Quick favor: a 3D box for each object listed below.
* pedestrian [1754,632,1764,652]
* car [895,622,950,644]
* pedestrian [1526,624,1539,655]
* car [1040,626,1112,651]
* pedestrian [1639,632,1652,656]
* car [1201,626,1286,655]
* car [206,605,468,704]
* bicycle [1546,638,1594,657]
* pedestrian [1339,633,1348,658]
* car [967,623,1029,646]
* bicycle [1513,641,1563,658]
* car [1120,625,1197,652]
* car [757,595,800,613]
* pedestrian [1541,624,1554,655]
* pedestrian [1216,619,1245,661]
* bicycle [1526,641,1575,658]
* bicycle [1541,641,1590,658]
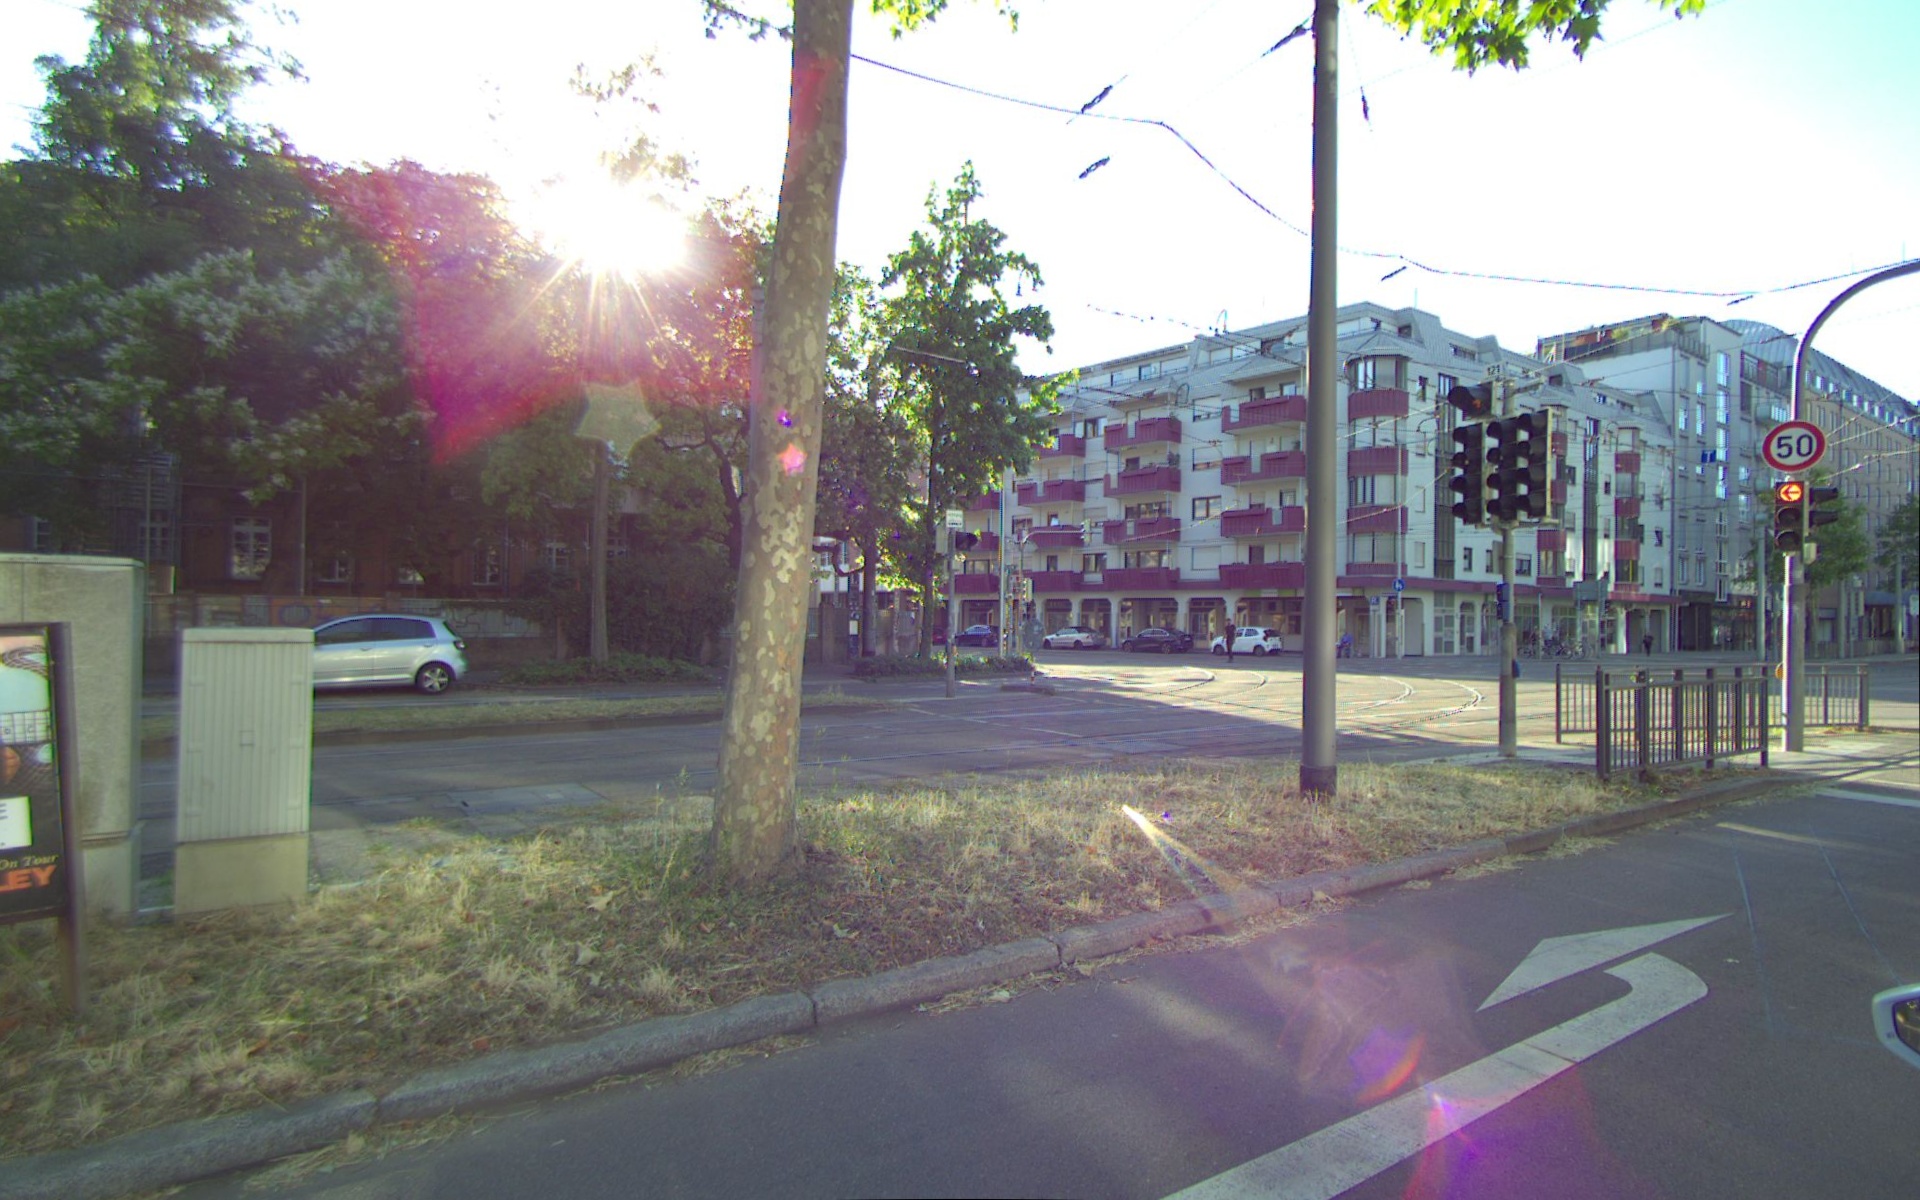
[{"bbox_3d":[59.841,3.127,75.217,0.523,1.478,0.507,1,-1,-37],"label":"pedestrian"},{"bbox_3d":[-2.717,2.357,71.848,1.790,1.483,3.948,2,-2,-44],"label":"car"},{"bbox_3d":[32.428,2.223,56.890,0.523,1.721,0.507,1,-1,-37],"label":"pedestrian"},{"bbox_3d":[7.007,2.308,61.061,1.790,1.483,4.215,2,-2,-44],"label":"car"},{"bbox_3d":[42.107,2.694,61.689,0.524,1.478,0.506,1,-1,-41],"label":"pedestrian"},{"bbox_3d":[14.856,2.096,52.799,3.946,1.483,1.791,-2,-2,44],"label":"car"},{"bbox_3d":[-12.012,1.003,19.490,4.140,1.711,1.979,1,-1,-37],"label":"car"},{"bbox_3d":[31.937,2.485,52.630,0.487,0.963,2.153,1,-2,-37],"label":"bicycle"},{"bbox_3d":[19.023,2.270,49.788,0.316,1.230,0.301,1,-2,-40],"label":"pedestrian"},{"bbox_3d":[2.477,2.284,66.233,1.790,1.483,3.948,2,-2,-44],"label":"car"},{"bbox_3d":[29.516,2.528,51.330,0.635,0.797,2.153,1,-2,-37],"label":"bicycle"},{"bbox_3d":[11.142,2.161,56.462,3.945,1.483,1.791,-2,-2,44],"label":"car"},{"bbox_3d":[-15.710,0.377,86.676,1.790,1.483,3.948,2,-2,-44],"label":"car"},{"bbox_3d":[33.002,2.205,56.424,0.523,1.721,0.507,1,-1,-37],"label":"pedestrian"},{"bbox_3d":[11.040,1.616,40.974,1.025,1.684,0.703,1,-2,-39],"label":"pedestrian"},{"bbox_3d":[30.271,2.548,51.557,0.487,0.797,2.153,1,-2,-37],"label":"bicycle"},{"bbox_3d":[31.443,2.564,52.222,0.523,0.835,2.153,1,-2,-37],"label":"bicycle"}]
